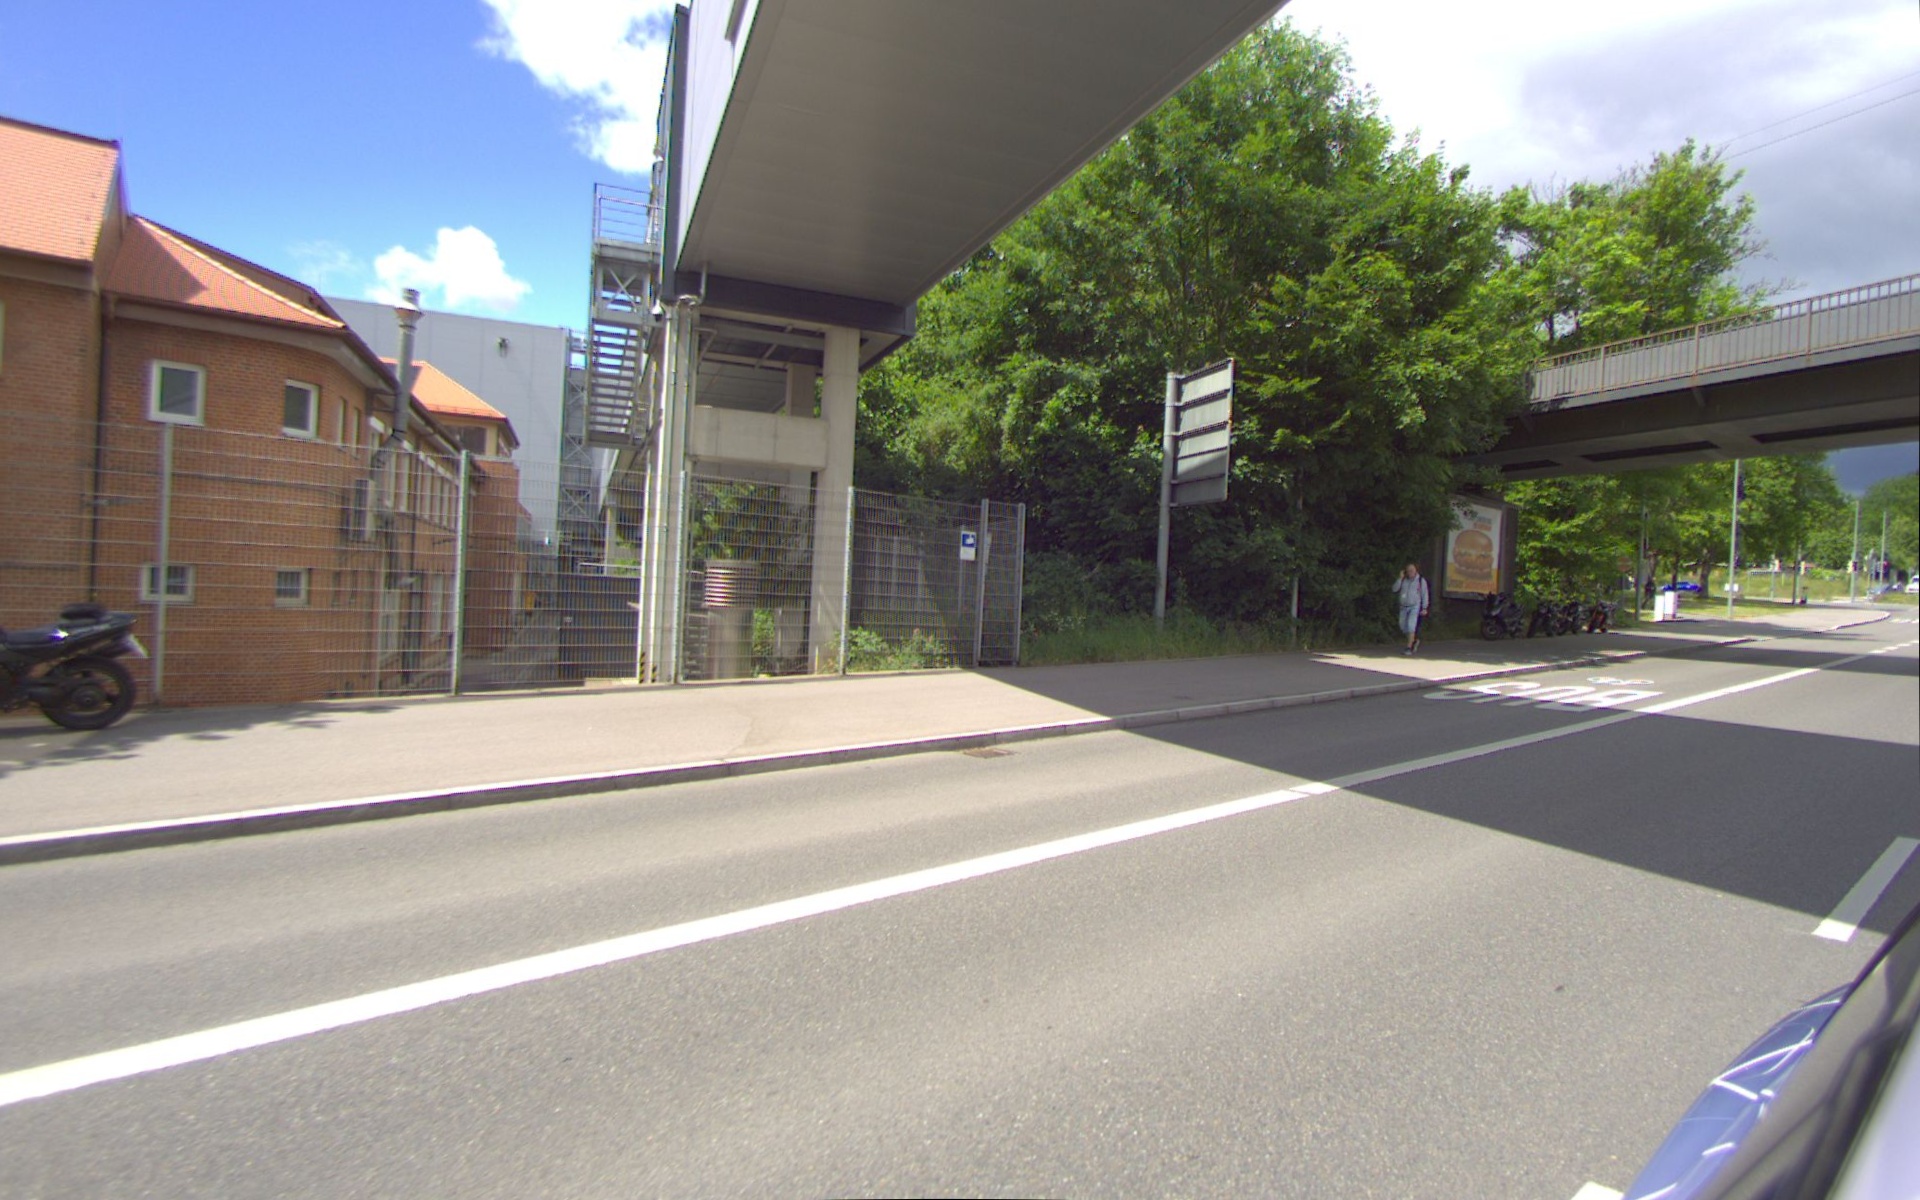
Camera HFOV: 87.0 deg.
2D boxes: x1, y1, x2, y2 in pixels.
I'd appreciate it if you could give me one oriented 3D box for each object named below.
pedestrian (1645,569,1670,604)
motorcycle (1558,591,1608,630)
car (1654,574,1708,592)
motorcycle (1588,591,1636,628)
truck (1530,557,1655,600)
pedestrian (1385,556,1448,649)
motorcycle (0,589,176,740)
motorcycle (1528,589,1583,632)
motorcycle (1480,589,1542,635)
[{"bbox_3d":[36.892,-0.715,53.515,0.942,1.834,0.712,2,2,27],"label":"pedestrian"},{"bbox_3d":[18.387,0.282,29.863,2.003,1.096,0.679,0,2,-42],"label":"motorcycle"},{"bbox_3d":[72.725,-1.723,102.063,1.965,1.766,4.078,0,2,-41],"label":"car"},{"bbox_3d":[20.301,0.282,31.488,2.142,1.096,0.679,0,2,-42],"label":"motorcycle"},{"bbox_3d":[62.024,-2.115,99.514,2.737,4.055,10.083,1,1,-37],"label":"truck"},{"bbox_3d":[9.691,0.032,21.491,1.078,1.911,0.791,0,2,-41],"label":"pedestrian"},{"bbox_3d":[-7.484,0.478,7.619,2.466,1.077,0.709,0,4,-41],"label":"motorcycle"},{"bbox_3d":[16.669,0.279,28.317,2.123,1.157,0.679,0,2,-42],"label":"motorcycle"},{"bbox_3d":[14.658,0.294,26.899,2.075,1.168,0.679,0,2,-40],"label":"motorcycle"}]
